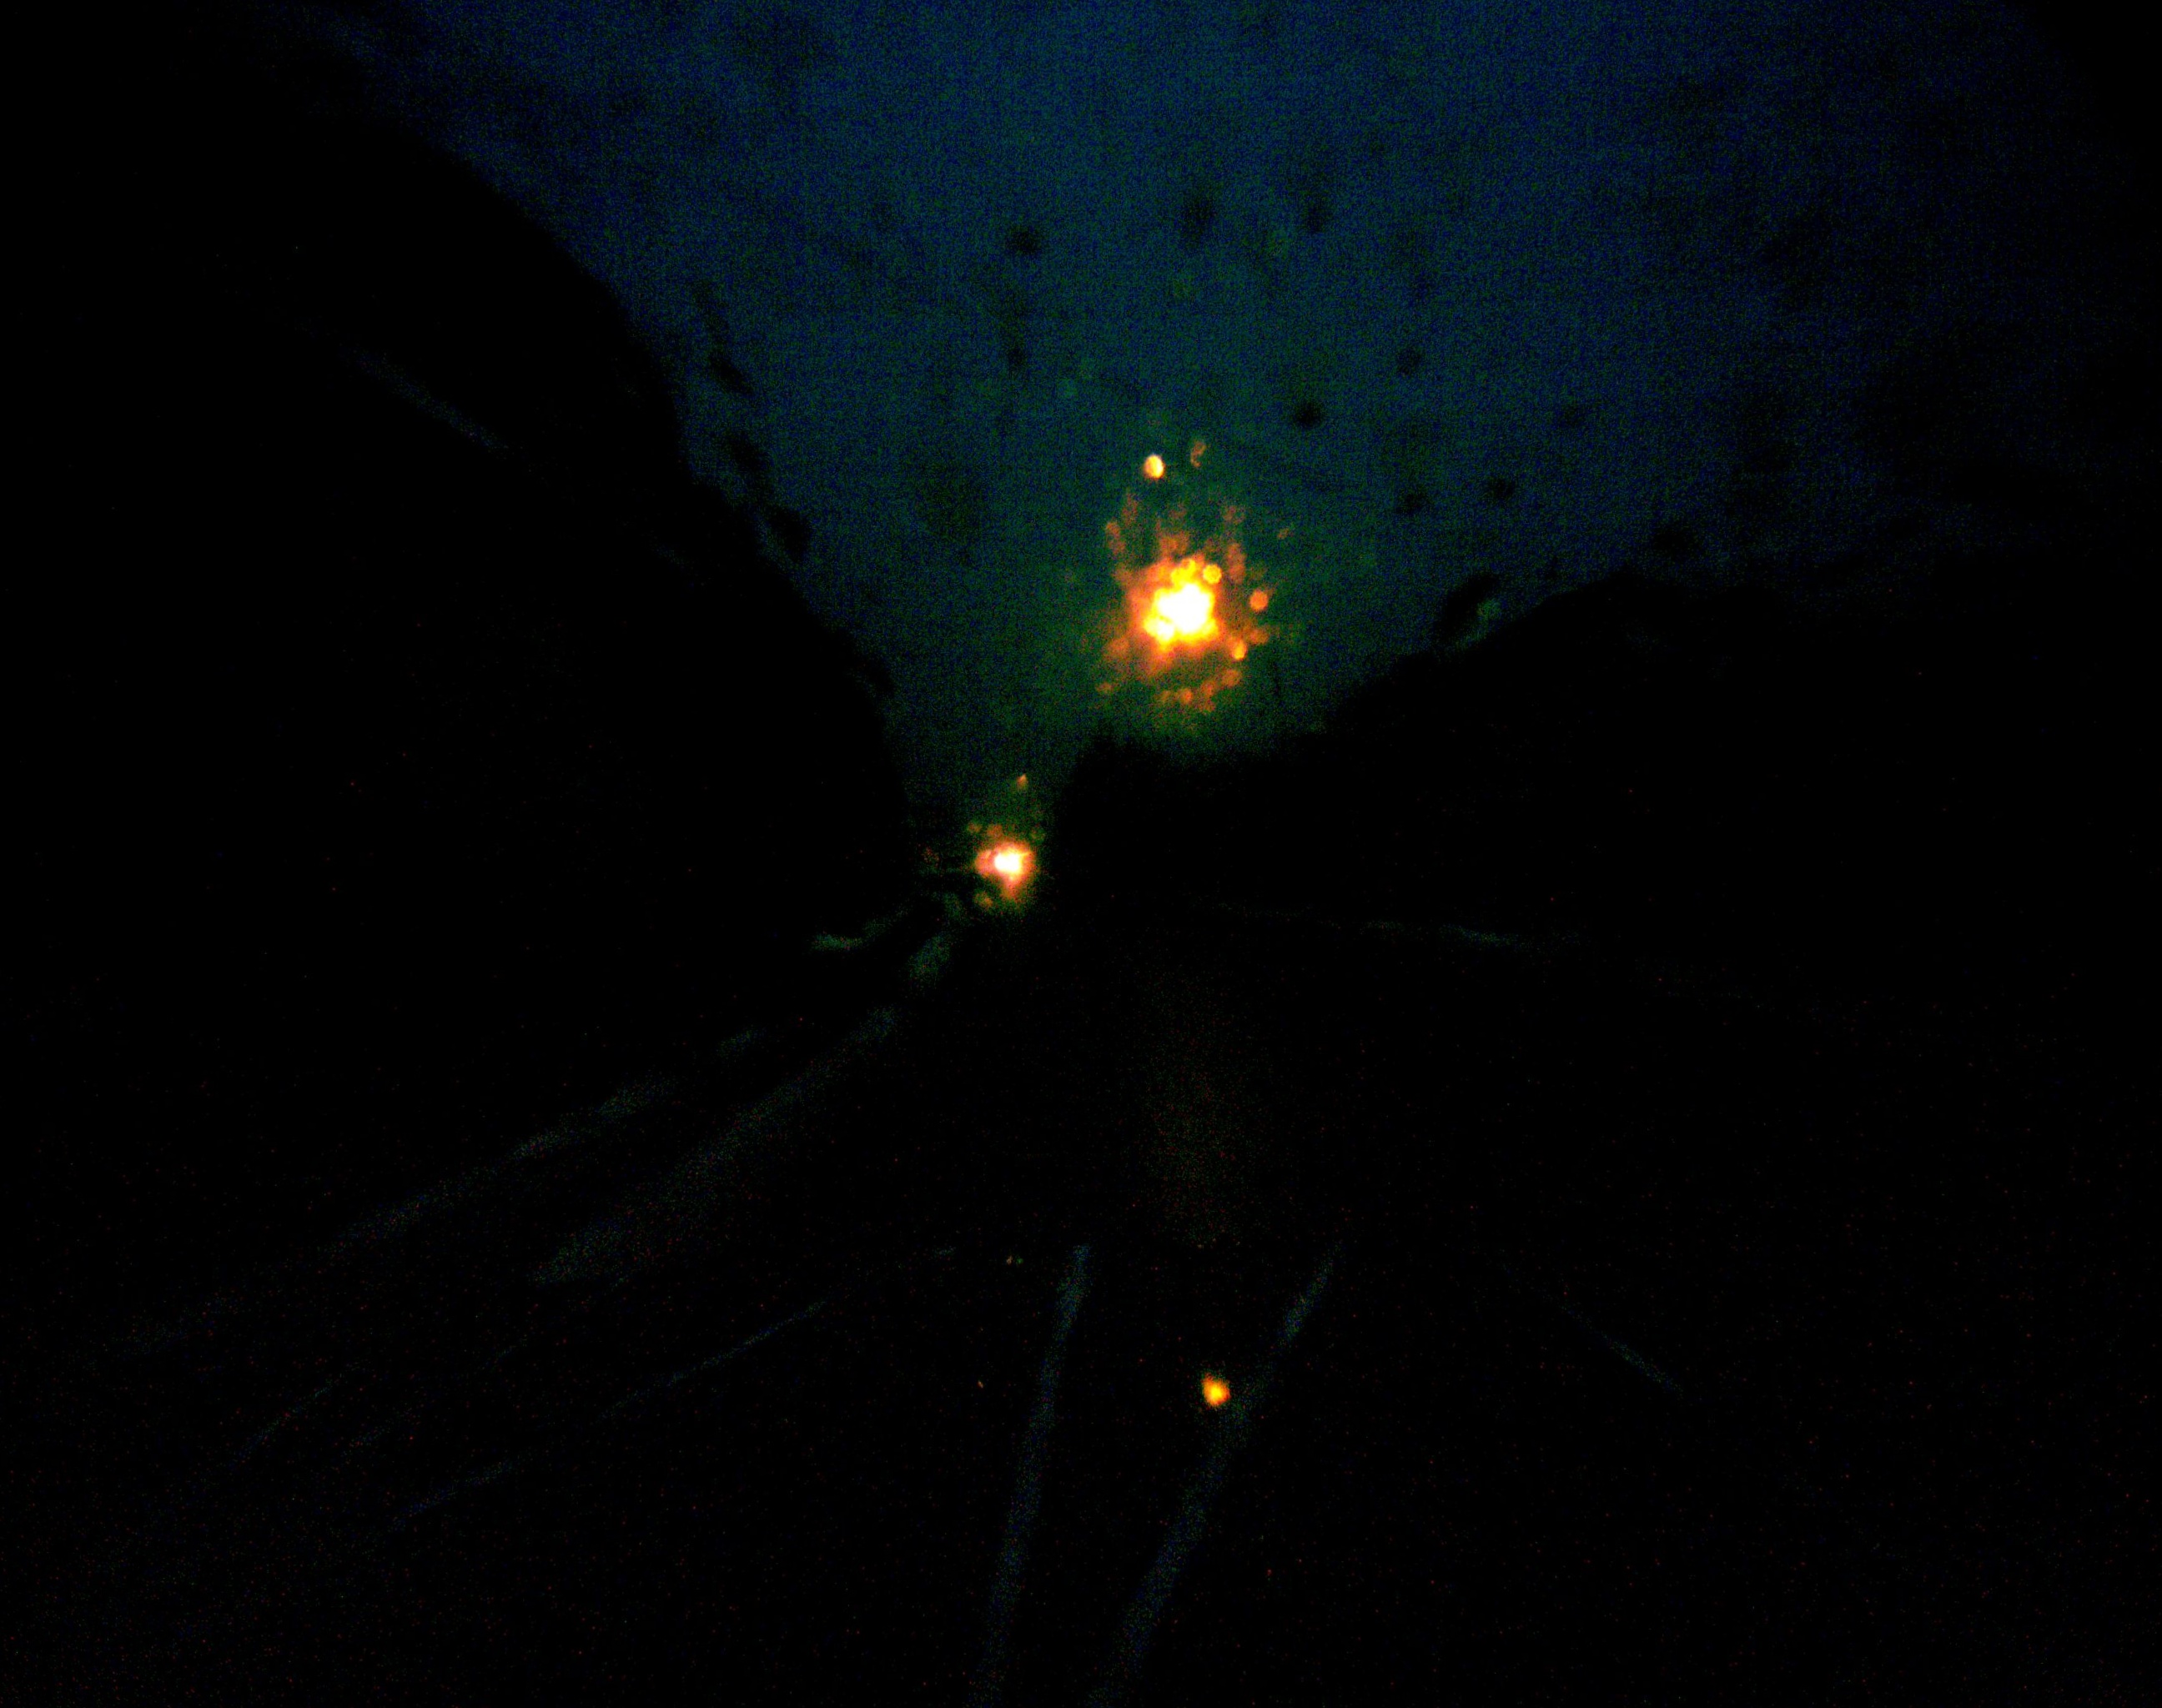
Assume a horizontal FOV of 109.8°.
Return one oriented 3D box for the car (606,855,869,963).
[{"bbox_3d":[-6.067,0.899,13.876,4.003,1.528,1.997,-3,1,-20],"label":"car"}]
